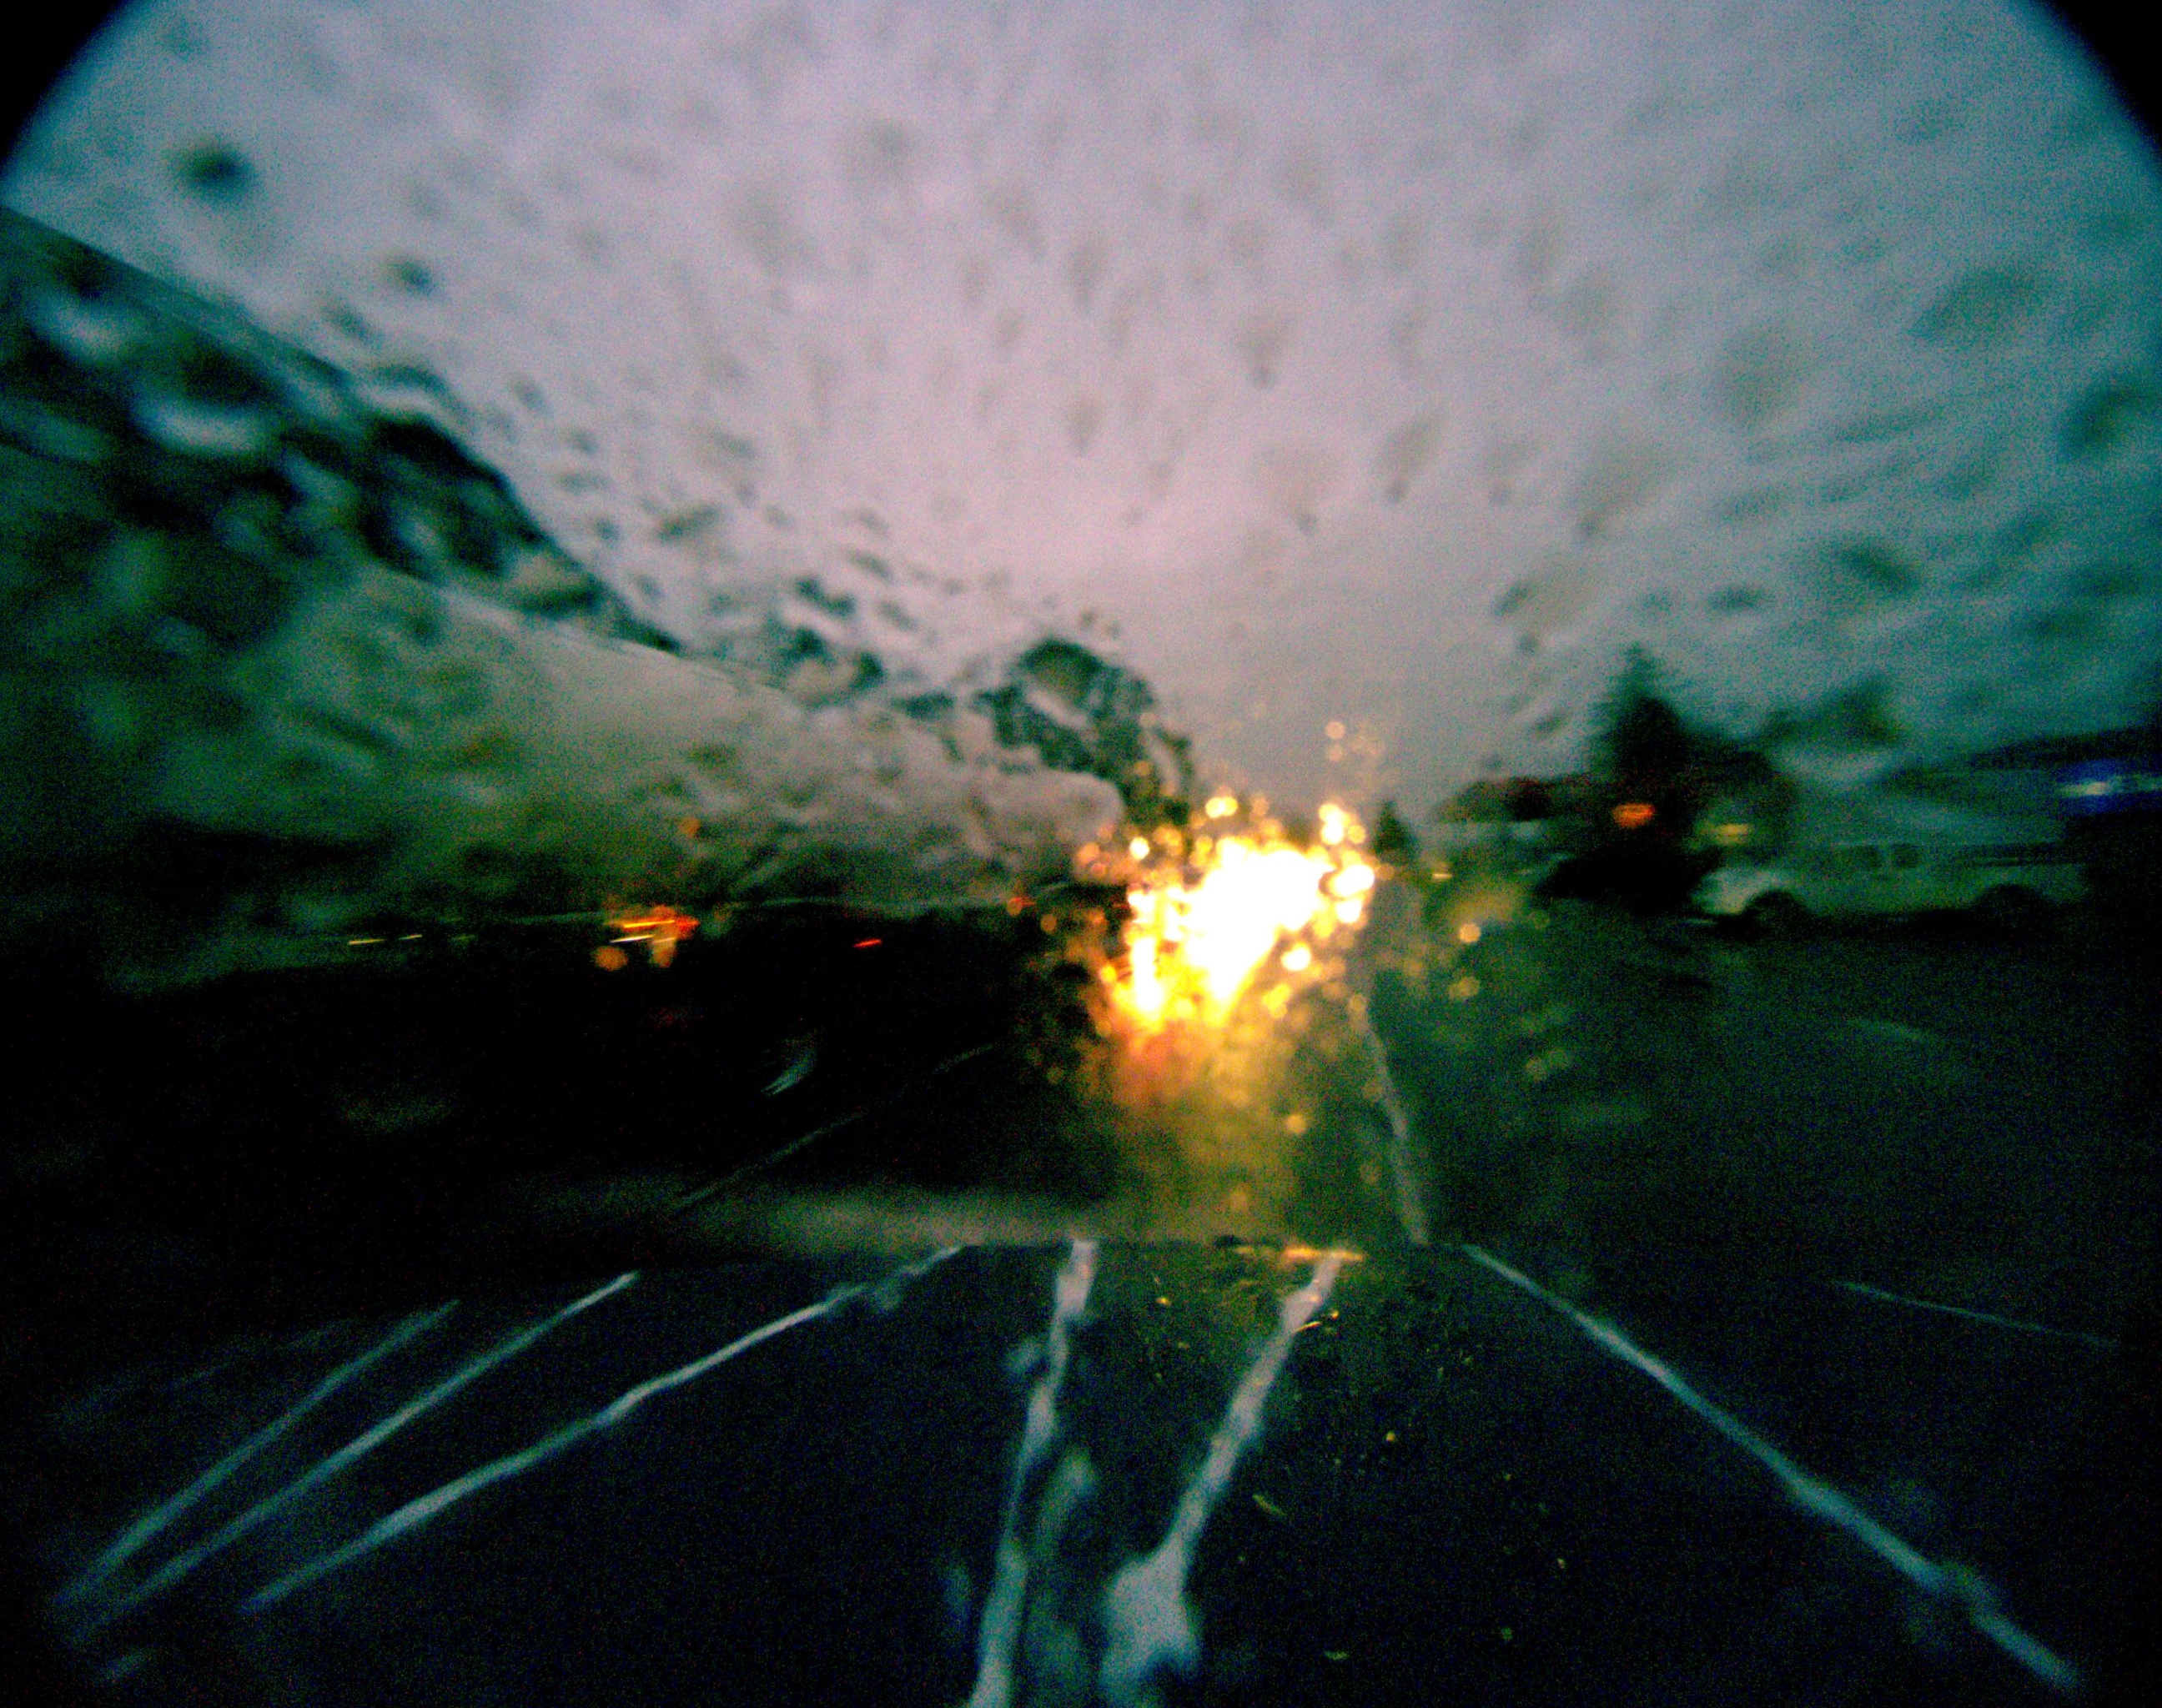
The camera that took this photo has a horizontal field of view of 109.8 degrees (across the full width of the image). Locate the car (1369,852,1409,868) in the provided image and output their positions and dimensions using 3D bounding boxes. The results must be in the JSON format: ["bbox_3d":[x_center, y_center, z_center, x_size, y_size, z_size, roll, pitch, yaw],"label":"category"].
[{"bbox_3d":[52.757,1.032,130.320,6.163,2.616,2.179,0,-1,19],"label":"car"}]

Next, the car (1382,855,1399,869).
[{"bbox_3d":[32.512,0.840,79.872,1.519,1.534,3.019,0,0,18],"label":"car"}]

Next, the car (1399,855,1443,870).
[{"bbox_3d":[38.741,0.986,86.711,4.341,1.489,1.828,-2,-1,19],"label":"car"}]

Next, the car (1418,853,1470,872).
[{"bbox_3d":[33.082,0.820,69.397,4.036,1.545,1.826,-3,-2,18],"label":"car"}]

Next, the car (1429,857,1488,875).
[{"bbox_3d":[29.539,0.935,59.513,3.863,1.337,1.842,-2,-1,18],"label":"car"}]

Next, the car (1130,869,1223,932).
[{"bbox_3d":[2.741,1.208,20.949,1.664,1.430,4.387,-3,-1,18],"label":"car"}]

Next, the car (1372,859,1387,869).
[{"bbox_3d":[41.220,1.380,104.991,1.572,1.314,4.261,0,1,17],"label":"car"}]

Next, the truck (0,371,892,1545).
[{"bbox_3d":[-3.775,0.305,3.457,2.464,3.210,6.282,-2,-1,20],"label":"truck"}]

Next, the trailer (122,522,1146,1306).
[{"bbox_3d":[-1.924,0.283,8.662,2.491,3.221,10.884,-2,-1,20],"label":"trailer"}]

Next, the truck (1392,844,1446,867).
[{"bbox_3d":[49.593,0.243,111.624,6.867,3.123,2.337,-2,-1,17],"label":"truck"}]

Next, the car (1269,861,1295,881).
[{"bbox_3d":[16.658,1.376,62.790,1.710,1.566,4.471,-2,-1,19],"label":"car"}]

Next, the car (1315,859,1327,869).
[{"bbox_3d":[41.803,1.724,132.362,1.887,1.618,4.005,-2,-1,17],"label":"car"}]

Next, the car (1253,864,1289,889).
[{"bbox_3d":[11.210,1.286,44.659,1.655,1.328,4.278,-2,-1,19],"label":"car"}]

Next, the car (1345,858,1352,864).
[{"bbox_3d":[67.339,1.653,191.108,1.605,1.525,4.006,0,0,18],"label":"car"}]

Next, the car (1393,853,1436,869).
[{"bbox_3d":[40.175,0.855,91.644,4.541,1.666,2.013,-2,-1,15],"label":"car"}]

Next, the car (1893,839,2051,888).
[{"bbox_3d":[30.181,0.305,25.915,1.737,1.521,3.911,-1,0,19],"label":"car"}]

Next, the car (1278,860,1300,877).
[{"bbox_3d":[19.142,1.308,69.832,1.567,1.520,4.012,-2,-1,19],"label":"car"}]

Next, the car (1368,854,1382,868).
[{"bbox_3d":[42.849,1.057,110.739,1.837,2.001,4.491,-2,-1,20],"label":"car"}]

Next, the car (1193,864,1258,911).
[{"bbox_3d":[5.736,1.251,29.698,1.838,1.559,4.510,-3,-1,18],"label":"car"}]

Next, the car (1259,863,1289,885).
[{"bbox_3d":[13.529,1.362,53.108,1.643,1.358,4.776,-2,-1,19],"label":"car"}]

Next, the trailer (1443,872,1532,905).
[{"bbox_3d":[15.273,1.244,28.905,1.996,1.033,6.113,-1,0,19],"label":"trailer"}]

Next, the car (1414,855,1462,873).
[{"bbox_3d":[33.749,0.946,71.989,3.863,1.443,1.842,-3,-1,18],"label":"car"}]

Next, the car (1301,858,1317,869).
[{"bbox_3d":[33.330,1.416,110.964,2.013,1.483,4.005,-2,-1,14],"label":"car"}]

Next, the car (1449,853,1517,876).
[{"bbox_3d":[27.409,0.724,51.932,3.863,1.433,1.842,-2,-1,18],"label":"car"}]

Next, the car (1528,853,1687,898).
[{"bbox_3d":[19.726,0.792,28.703,4.562,1.573,1.922,-1,0,18],"label":"car"}]

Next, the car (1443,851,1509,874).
[{"bbox_3d":[28.229,0.607,54.423,3.863,1.550,1.842,-2,-1,18],"label":"car"}]

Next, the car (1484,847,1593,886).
[{"bbox_3d":[23.182,0.623,38.695,4.282,1.652,2.140,-4,-1,19],"label":"car"}]

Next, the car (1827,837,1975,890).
[{"bbox_3d":[28.378,0.312,26.501,1.799,1.614,4.006,-3,-1,19],"label":"car"}]

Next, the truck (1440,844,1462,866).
[{"bbox_3d":[59.348,0.246,121.929,2.033,3.434,5.860,1,0,15],"label":"truck"}]

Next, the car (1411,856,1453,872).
[{"bbox_3d":[36.808,1.077,79.751,3.777,1.451,1.778,-3,-1,16],"label":"car"}]

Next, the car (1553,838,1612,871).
[{"bbox_3d":[29.358,0.032,44.633,1.888,1.858,4.005,-1,0,18],"label":"car"}]

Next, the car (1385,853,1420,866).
[{"bbox_3d":[52.792,0.883,124.934,5.151,2.137,2.061,0,-1,19],"label":"car"}]

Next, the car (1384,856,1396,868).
[{"bbox_3d":[41.141,1.097,101.137,1.172,1.634,2.876,-1,-1,27],"label":"car"}]

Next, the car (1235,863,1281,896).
[{"bbox_3d":[8.654,1.198,36.961,1.704,1.462,4.278,-3,-1,19],"label":"car"}]

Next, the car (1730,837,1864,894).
[{"bbox_3d":[25.838,0.395,27.619,1.996,1.893,4.005,-1,0,18],"label":"car"}]

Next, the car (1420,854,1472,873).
[{"bbox_3d":[32.197,0.838,67.205,3.863,1.401,1.947,-3,-1,18],"label":"car"}]

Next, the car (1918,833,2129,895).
[{"bbox_3d":[27.233,0.289,22.203,1.996,1.615,4.005,-1,0,18],"label":"car"}]

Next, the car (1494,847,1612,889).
[{"bbox_3d":[22.215,0.646,35.955,4.282,1.652,2.003,-4,-1,19],"label":"car"}]

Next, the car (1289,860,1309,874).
[{"bbox_3d":[24.151,1.446,84.240,2.013,1.483,4.005,-2,-1,14],"label":"car"}]

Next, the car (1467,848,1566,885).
[{"bbox_3d":[23.468,0.662,41.129,4.282,1.652,2.003,-4,-1,19],"label":"car"}]

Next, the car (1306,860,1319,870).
[{"bbox_3d":[37.324,1.756,122.439,1.887,1.618,4.006,-3,-1,19],"label":"car"}]

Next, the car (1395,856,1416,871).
[{"bbox_3d":[32.371,0.947,75.874,1.684,1.412,3.746,-2,-1,20],"label":"car"}]

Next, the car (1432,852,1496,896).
[{"bbox_3d":[17.019,0.863,33.967,1.973,1.820,4.519,0,0,19],"label":"car"}]

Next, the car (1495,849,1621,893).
[{"bbox_3d":[20.814,0.742,33.366,4.282,1.617,2.003,-4,-1,19],"label":"car"}]

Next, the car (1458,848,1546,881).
[{"bbox_3d":[25.417,0.629,46.024,4.282,1.652,2.003,-4,-1,19],"label":"car"}]

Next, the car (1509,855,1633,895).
[{"bbox_3d":[19.769,0.857,30.865,3.898,1.420,1.722,-3,-1,20],"label":"car"}]

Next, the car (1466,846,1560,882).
[{"bbox_3d":[24.692,0.572,43.588,4.282,1.753,2.003,-4,-1,19],"label":"car"}]

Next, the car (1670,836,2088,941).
[{"bbox_3d":[14.880,0.648,14.652,5.194,1.780,2.003,-2,0,20],"label":"car"}]
